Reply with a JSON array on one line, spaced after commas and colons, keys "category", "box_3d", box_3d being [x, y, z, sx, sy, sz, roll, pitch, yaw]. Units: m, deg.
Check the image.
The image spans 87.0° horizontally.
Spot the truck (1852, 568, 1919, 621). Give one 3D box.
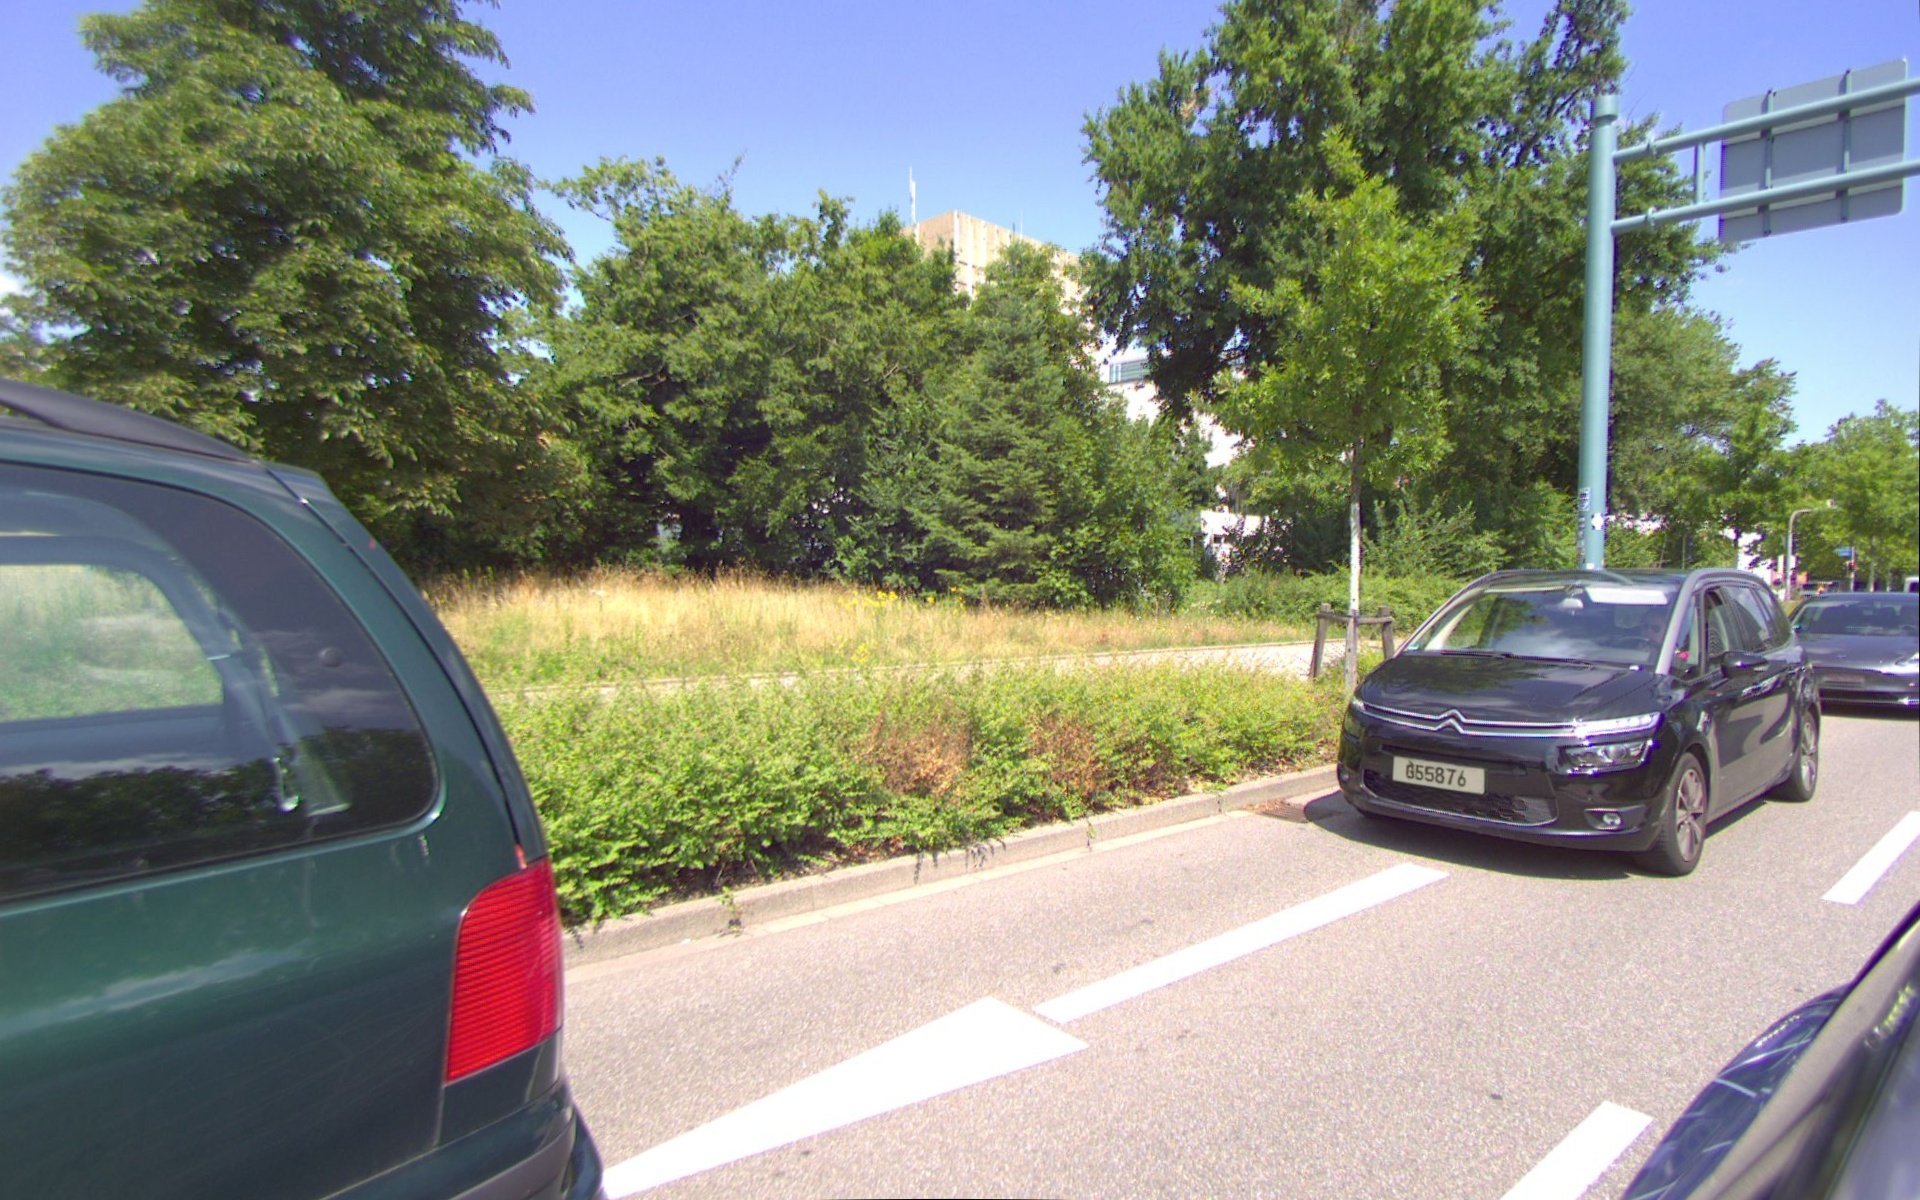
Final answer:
[{"category": "truck", "box_3d": [43.203, -0.247, 44.391, 2.412, 2.330, 5.826, 0, 0, -12]}]

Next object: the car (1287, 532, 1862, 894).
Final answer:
[{"category": "car", "box_3d": [4.270, 0.511, 6.728, 4.438, 1.643, 1.862, 0, 0, -39]}]

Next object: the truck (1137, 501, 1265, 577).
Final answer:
[{"category": "truck", "box_3d": [10.680, -2.558, 44.442, 7.009, 3.060, 2.093, -1, 1, -45]}]

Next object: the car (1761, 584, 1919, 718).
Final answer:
[{"category": "car", "box_3d": [11.619, 0.536, 12.693, 4.288, 1.435, 1.763, -1, 0, -42]}]

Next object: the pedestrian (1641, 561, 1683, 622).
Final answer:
[{"category": "pedestrian", "box_3d": [20.750, -0.258, 29.915, 0.827, 1.787, 0.844, -1, 1, -40]}]

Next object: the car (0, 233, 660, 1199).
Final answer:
[{"category": "car", "box_3d": [-2.650, 0.525, 0.678, 4.369, 1.745, 1.797, 0, 0, -40]}]
